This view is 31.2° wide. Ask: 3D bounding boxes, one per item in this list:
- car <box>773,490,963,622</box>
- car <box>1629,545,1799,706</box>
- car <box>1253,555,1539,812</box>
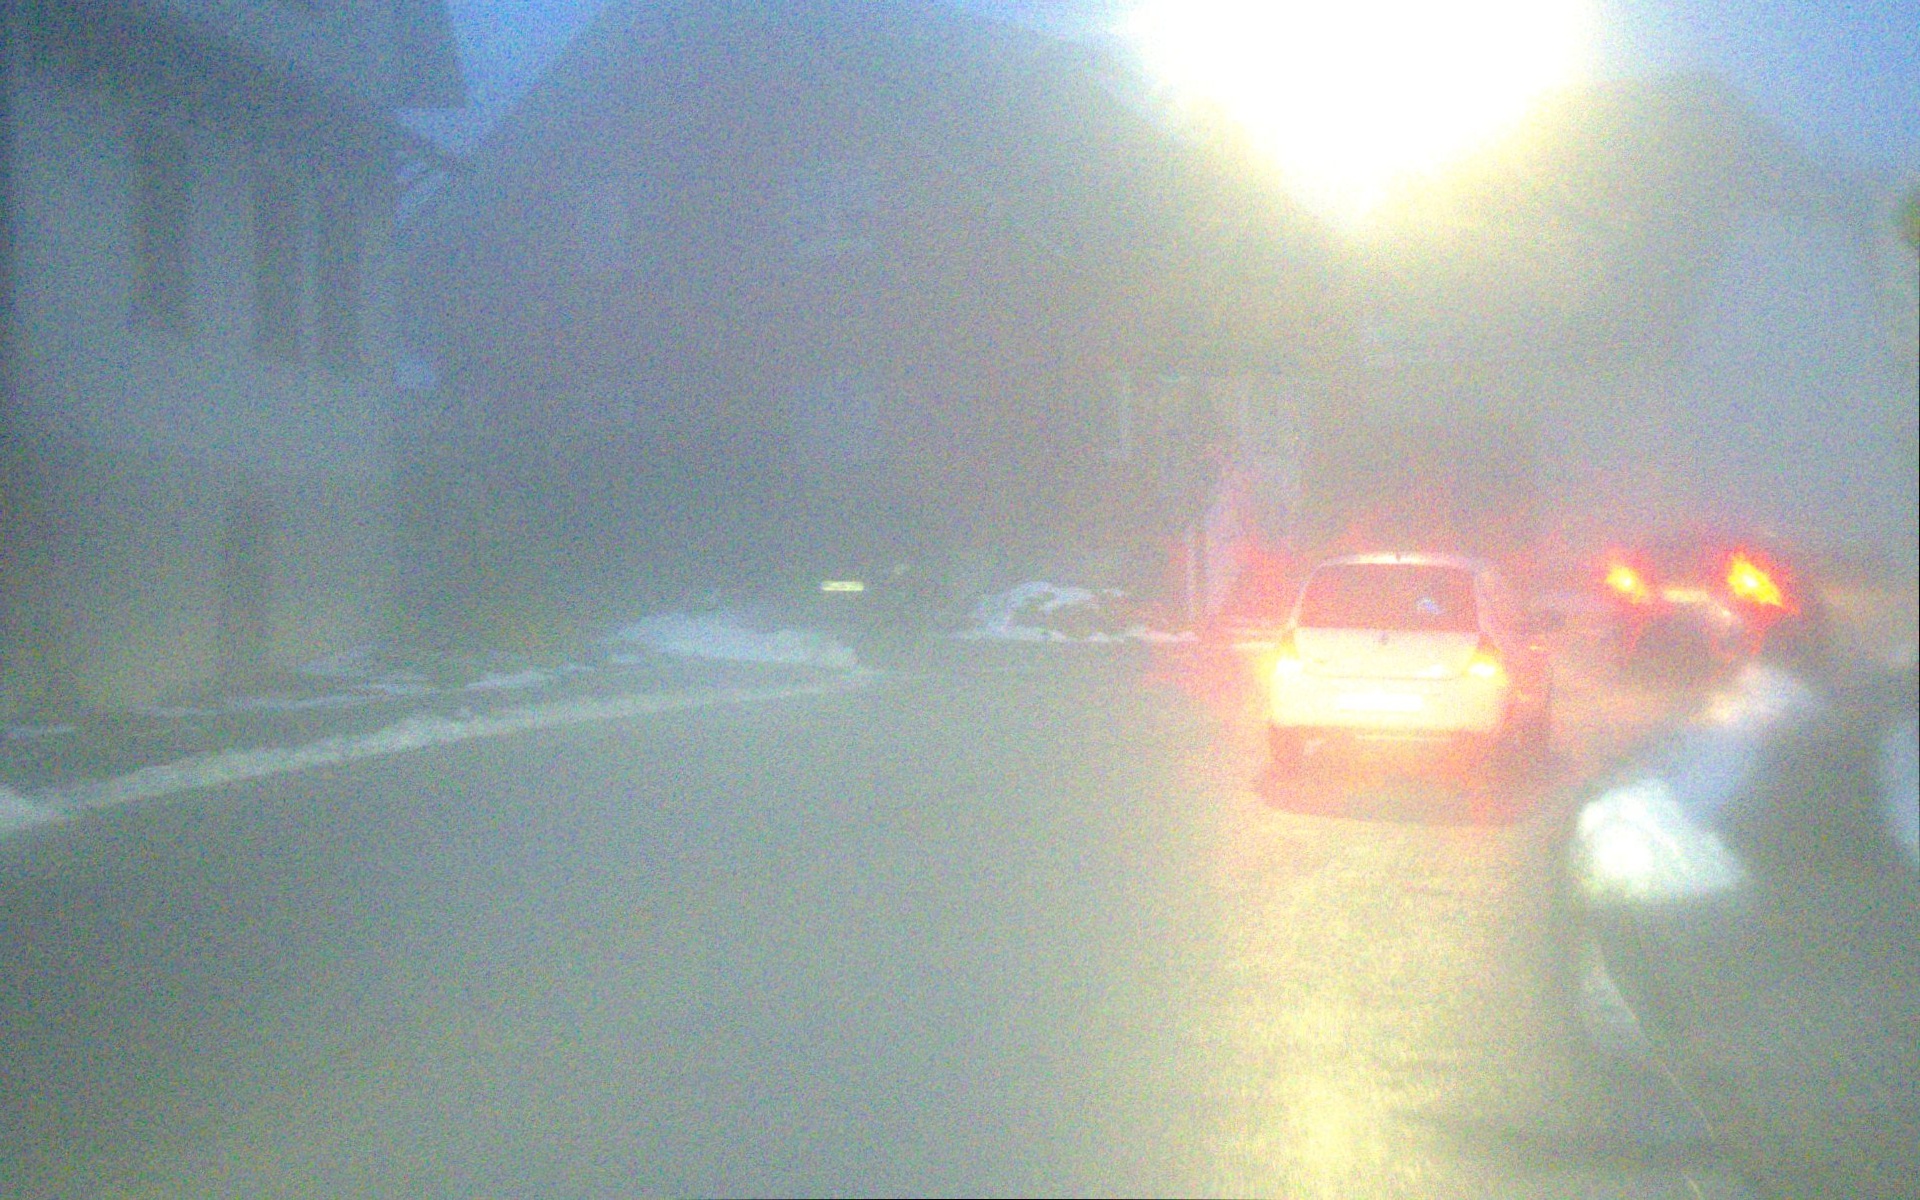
[{"bbox_3d":[-1.085,-0.534,42.530,1.874,1.499,3.999,2,1,5],"label":"car"},{"bbox_3d":[7.999,0.240,36.611,1.646,1.590,3.697,1,1,12],"label":"car"},{"bbox_3d":[3.074,0.508,23.703,1.646,1.590,3.697,1,1,12],"label":"car"}]
